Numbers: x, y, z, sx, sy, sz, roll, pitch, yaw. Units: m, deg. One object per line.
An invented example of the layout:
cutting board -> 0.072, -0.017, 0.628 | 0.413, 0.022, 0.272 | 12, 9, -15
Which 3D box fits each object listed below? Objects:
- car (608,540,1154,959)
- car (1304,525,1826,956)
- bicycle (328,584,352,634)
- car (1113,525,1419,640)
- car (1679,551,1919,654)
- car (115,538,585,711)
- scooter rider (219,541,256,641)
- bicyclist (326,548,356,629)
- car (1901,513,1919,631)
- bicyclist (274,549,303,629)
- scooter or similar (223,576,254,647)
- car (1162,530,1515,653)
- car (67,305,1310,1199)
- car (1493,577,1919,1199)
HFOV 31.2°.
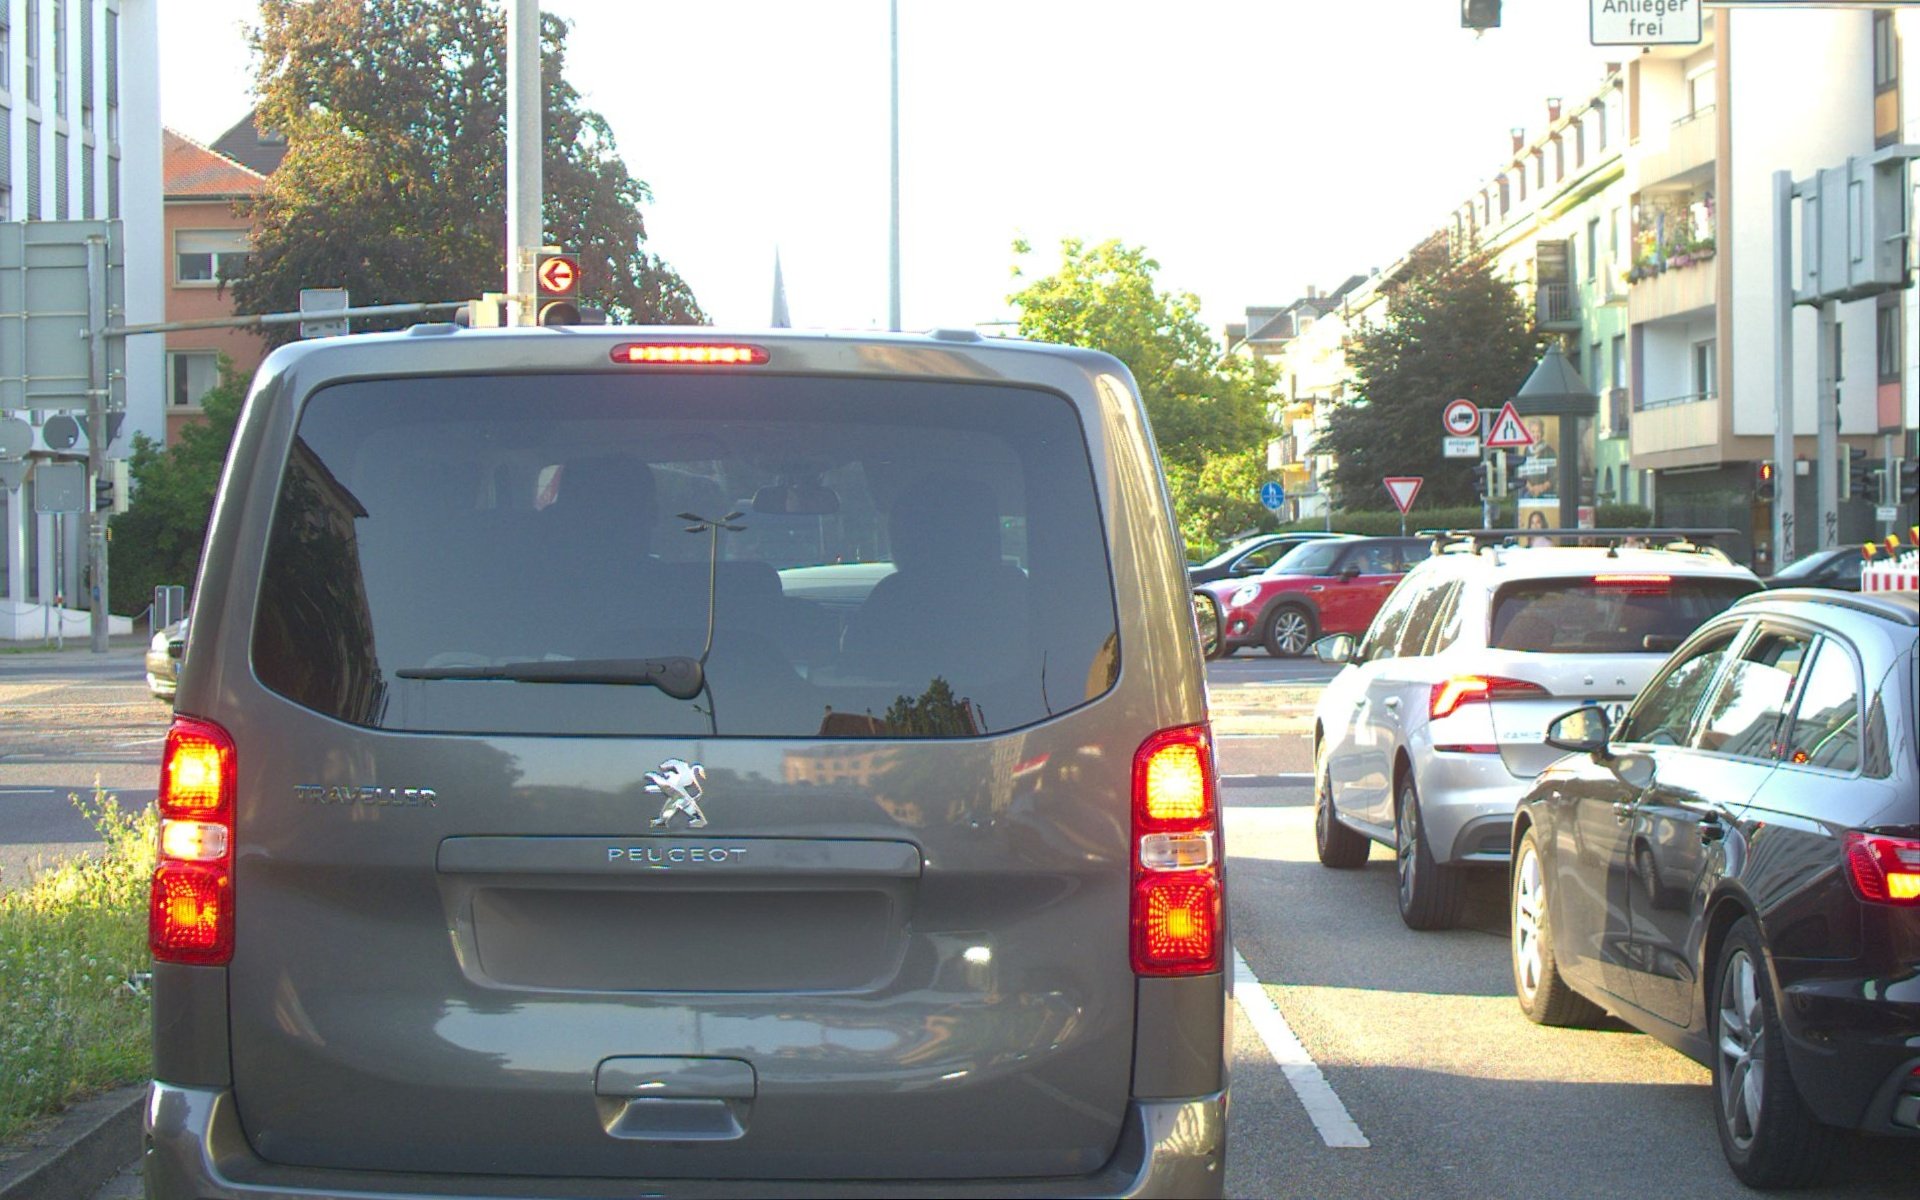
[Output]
car -> -0.315, 0.515, 14.632 | 1.993, 1.525, 4.000 | 0, 1, -1
car -> 2.479, 0.502, 14.903 | 1.528, 1.608, 3.745 | 1, 1, -1
bicycle -> -11.932, 0.168, 66.183 | 0.276, 0.945, 1.072 | 0, 1, -1
car -> 4.379, -0.260, 49.509 | 4.117, 1.588, 1.795 | -1, 0, -5
car -> 12.047, 0.014, 47.394 | 3.815, 1.349, 1.727 | -1, 1, -7
car -> -5.491, 0.175, 31.444 | 1.701, 1.437, 4.233 | 0, 1, 36
scooter rider -> -12.253, -0.161, 58.322 | 0.481, 1.691, 0.636 | 0, 1, -1
bicyclist -> -11.925, -0.226, 66.223 | 0.477, 1.550, 0.509 | 0, 1, -1
car -> 14.396, -0.379, 44.434 | 3.986, 1.511, 1.682 | -1, 1, -12
bicyclist -> -12.830, -0.210, 65.691 | 0.462, 1.516, 0.469 | 0, 1, -1
scooter or similar -> -12.259, 0.190, 58.404 | 0.285, 1.184, 1.169 | 0, 1, -1
car -> 4.624, -0.125, 41.979 | 3.986, 1.413, 1.682 | -1, 1, -25
car -> -0.453, 0.450, 7.606 | 1.907, 1.857, 4.527 | 1, 1, -1
car -> 2.632, 0.683, 9.214 | 1.681, 1.416, 4.214 | 1, 1, -1
